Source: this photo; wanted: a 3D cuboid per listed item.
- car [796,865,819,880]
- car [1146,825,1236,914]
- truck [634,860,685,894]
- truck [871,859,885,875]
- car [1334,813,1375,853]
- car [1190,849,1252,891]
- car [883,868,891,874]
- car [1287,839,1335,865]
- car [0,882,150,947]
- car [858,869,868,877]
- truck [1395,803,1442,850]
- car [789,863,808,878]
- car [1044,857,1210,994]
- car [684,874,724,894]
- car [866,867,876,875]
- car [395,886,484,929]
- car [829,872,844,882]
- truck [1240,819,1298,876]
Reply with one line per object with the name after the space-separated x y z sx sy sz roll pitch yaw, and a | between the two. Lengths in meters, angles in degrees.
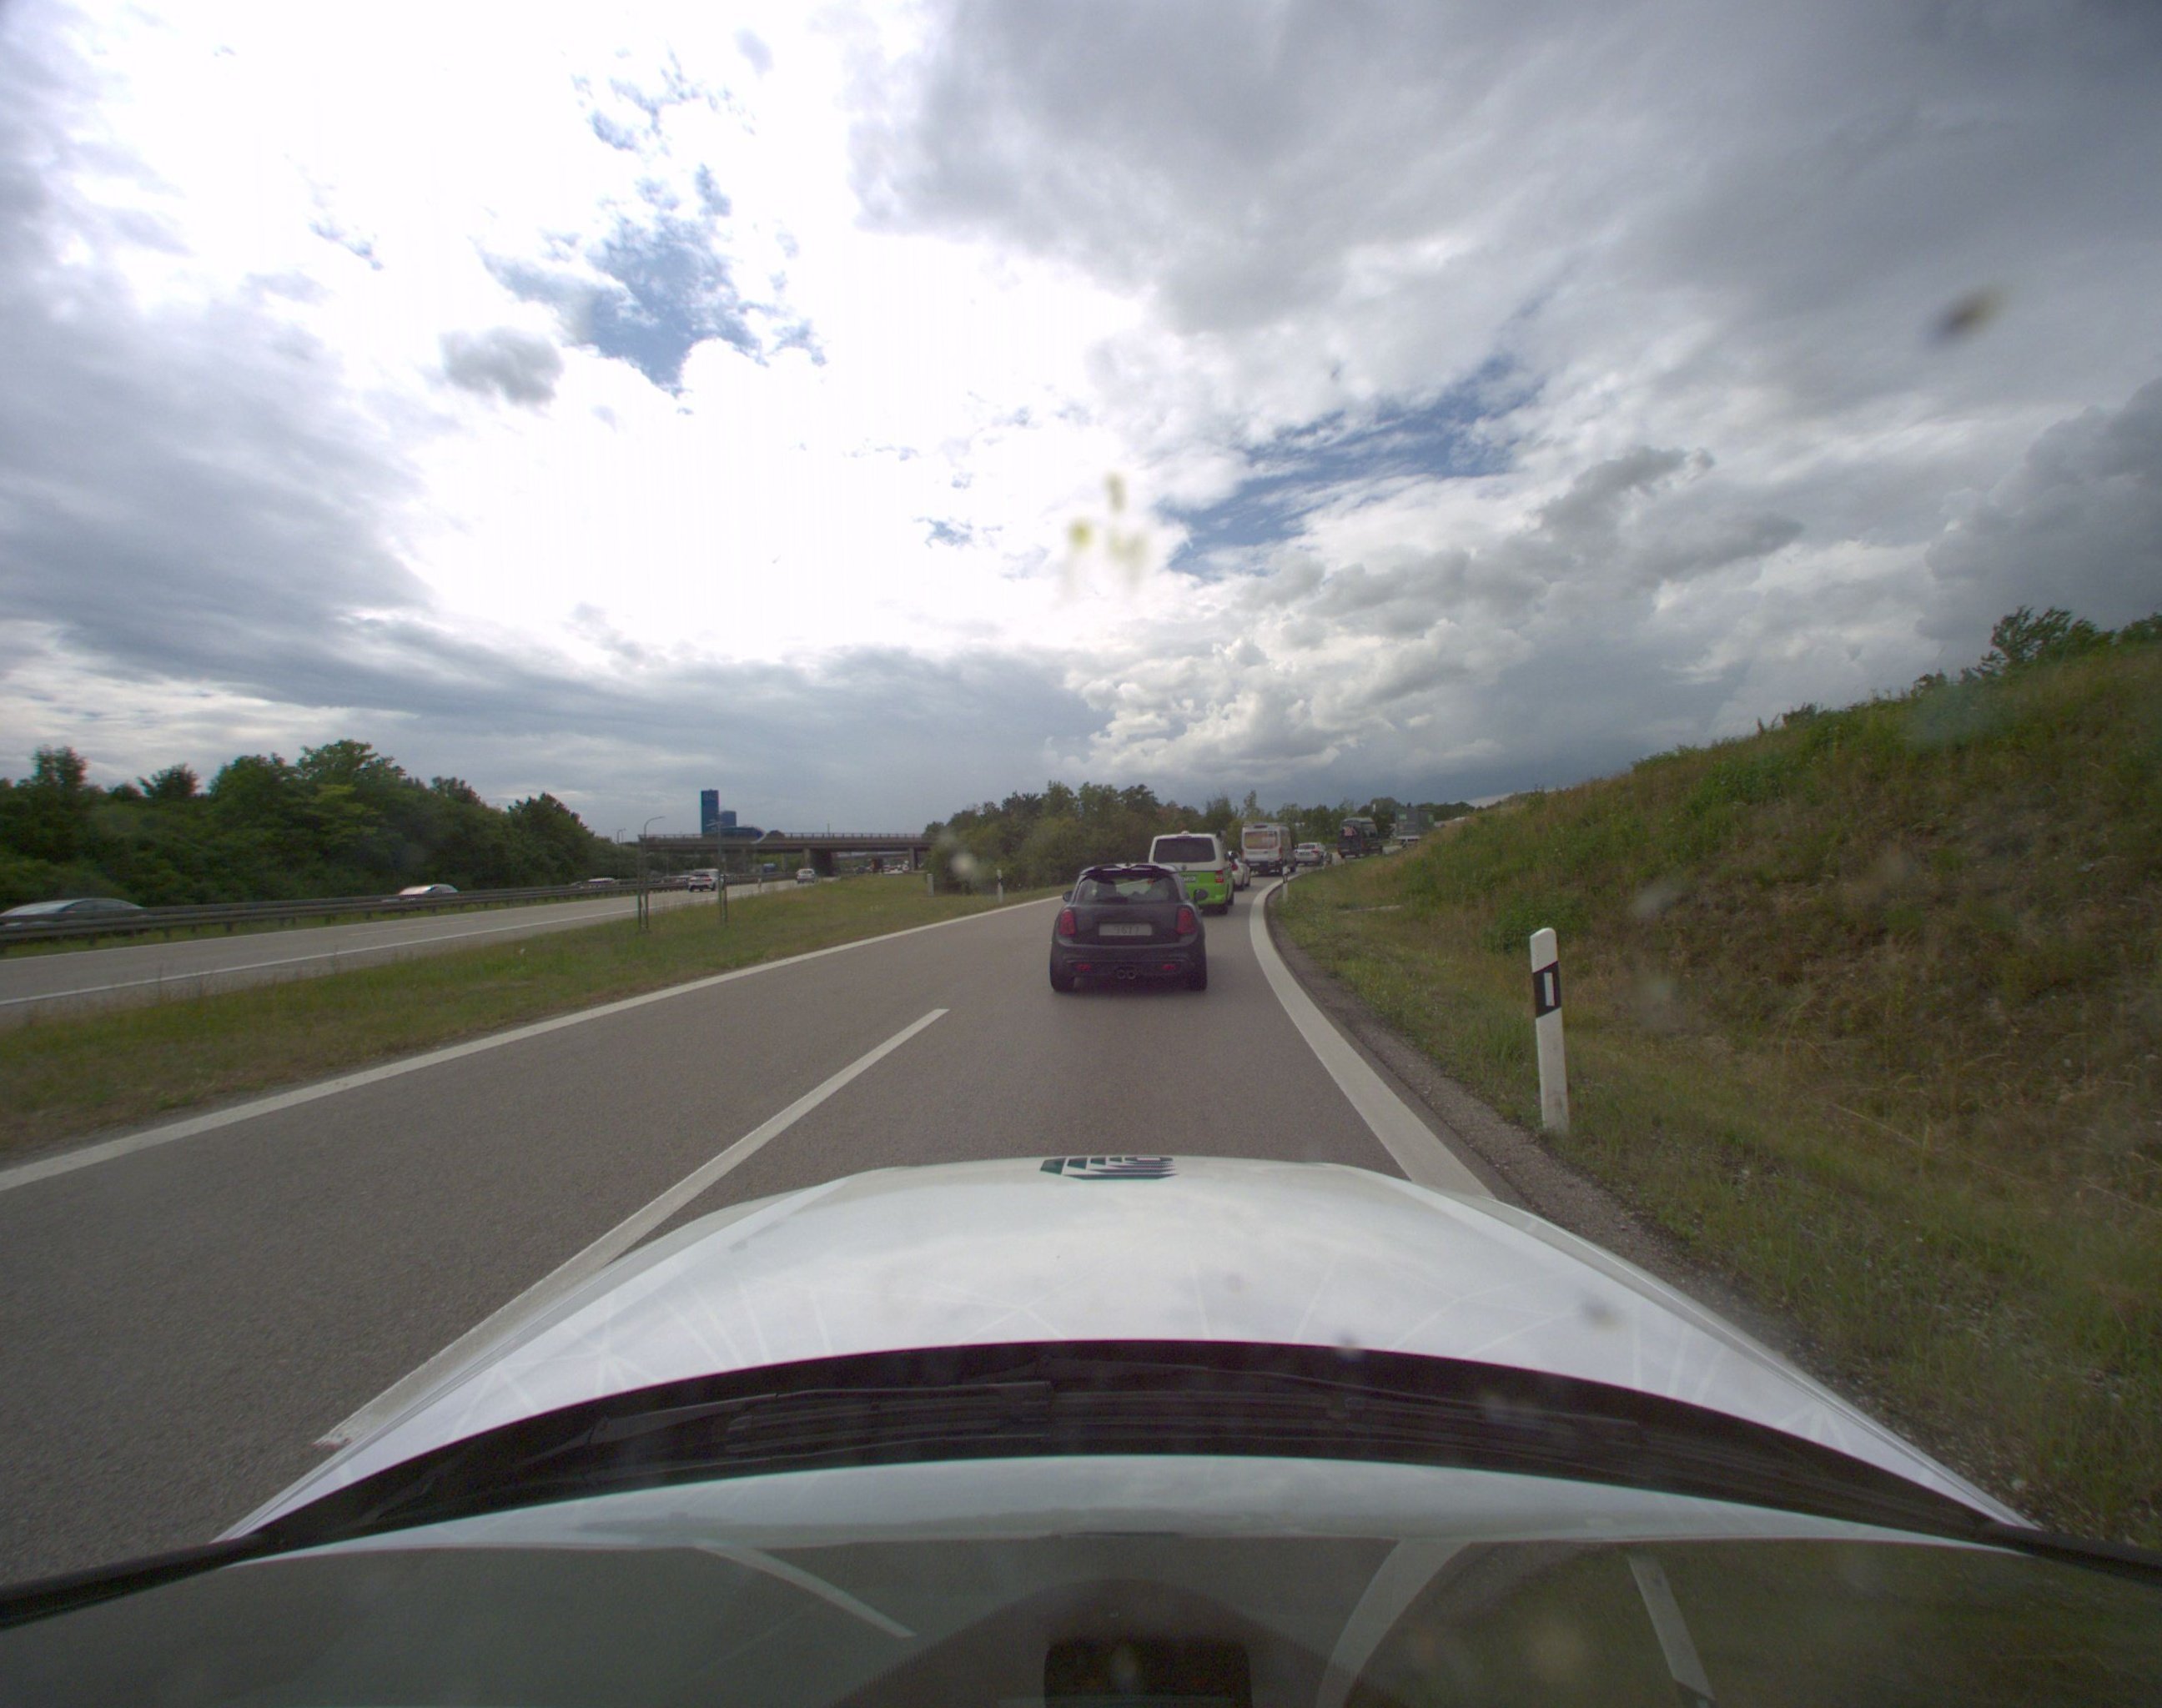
-28.465 1.917 84.760 1.718 1.519 3.985 -2 -1 -11 | car
2.870 0.375 20.534 1.771 2.014 4.015 -1 -1 14 | car
-47.686 2.550 92.459 2.760 3.646 8.166 -2 -1 -11 | truck
-46.209 2.948 185.359 2.468 3.371 7.893 -2 -1 -11 | truck
19.974 -1.490 59.388 2.085 2.796 4.024 -1 0 29 | car
5.246 0.560 30.170 1.748 1.399 3.742 -2 -1 17 | car
-54.071 4.772 227.340 1.876 1.751 4.471 -2 -1 -10 | car
14.355 -0.115 50.710 1.848 1.510 4.025 -2 -1 31 | car
-30.813 1.761 24.265 1.995 1.684 3.983 -2 -1 -12 | car
-50.931 4.472 190.517 1.846 1.758 4.319 -2 -1 -11 | car
31.014 -2.439 74.657 2.207 3.907 6.053 -2 -2 40 | truck
-37.449 2.206 107.915 1.996 2.014 3.980 0 -1 -14 | car
0.703 0.772 10.399 1.718 1.413 3.732 -1 -1 7 | car
-28.912 2.276 62.585 1.838 1.453 4.360 -2 -1 -12 | car
-53.344 4.345 206.697 1.994 1.810 3.986 -2 0 -10 | car
-34.301 2.793 43.681 1.925 2.014 4.203 -2 -1 -10 | car
-42.662 3.995 142.162 1.994 1.743 4.811 -2 -1 -11 | car
9.563 -0.346 41.053 2.160 2.658 5.134 -2 0 20 | truck
